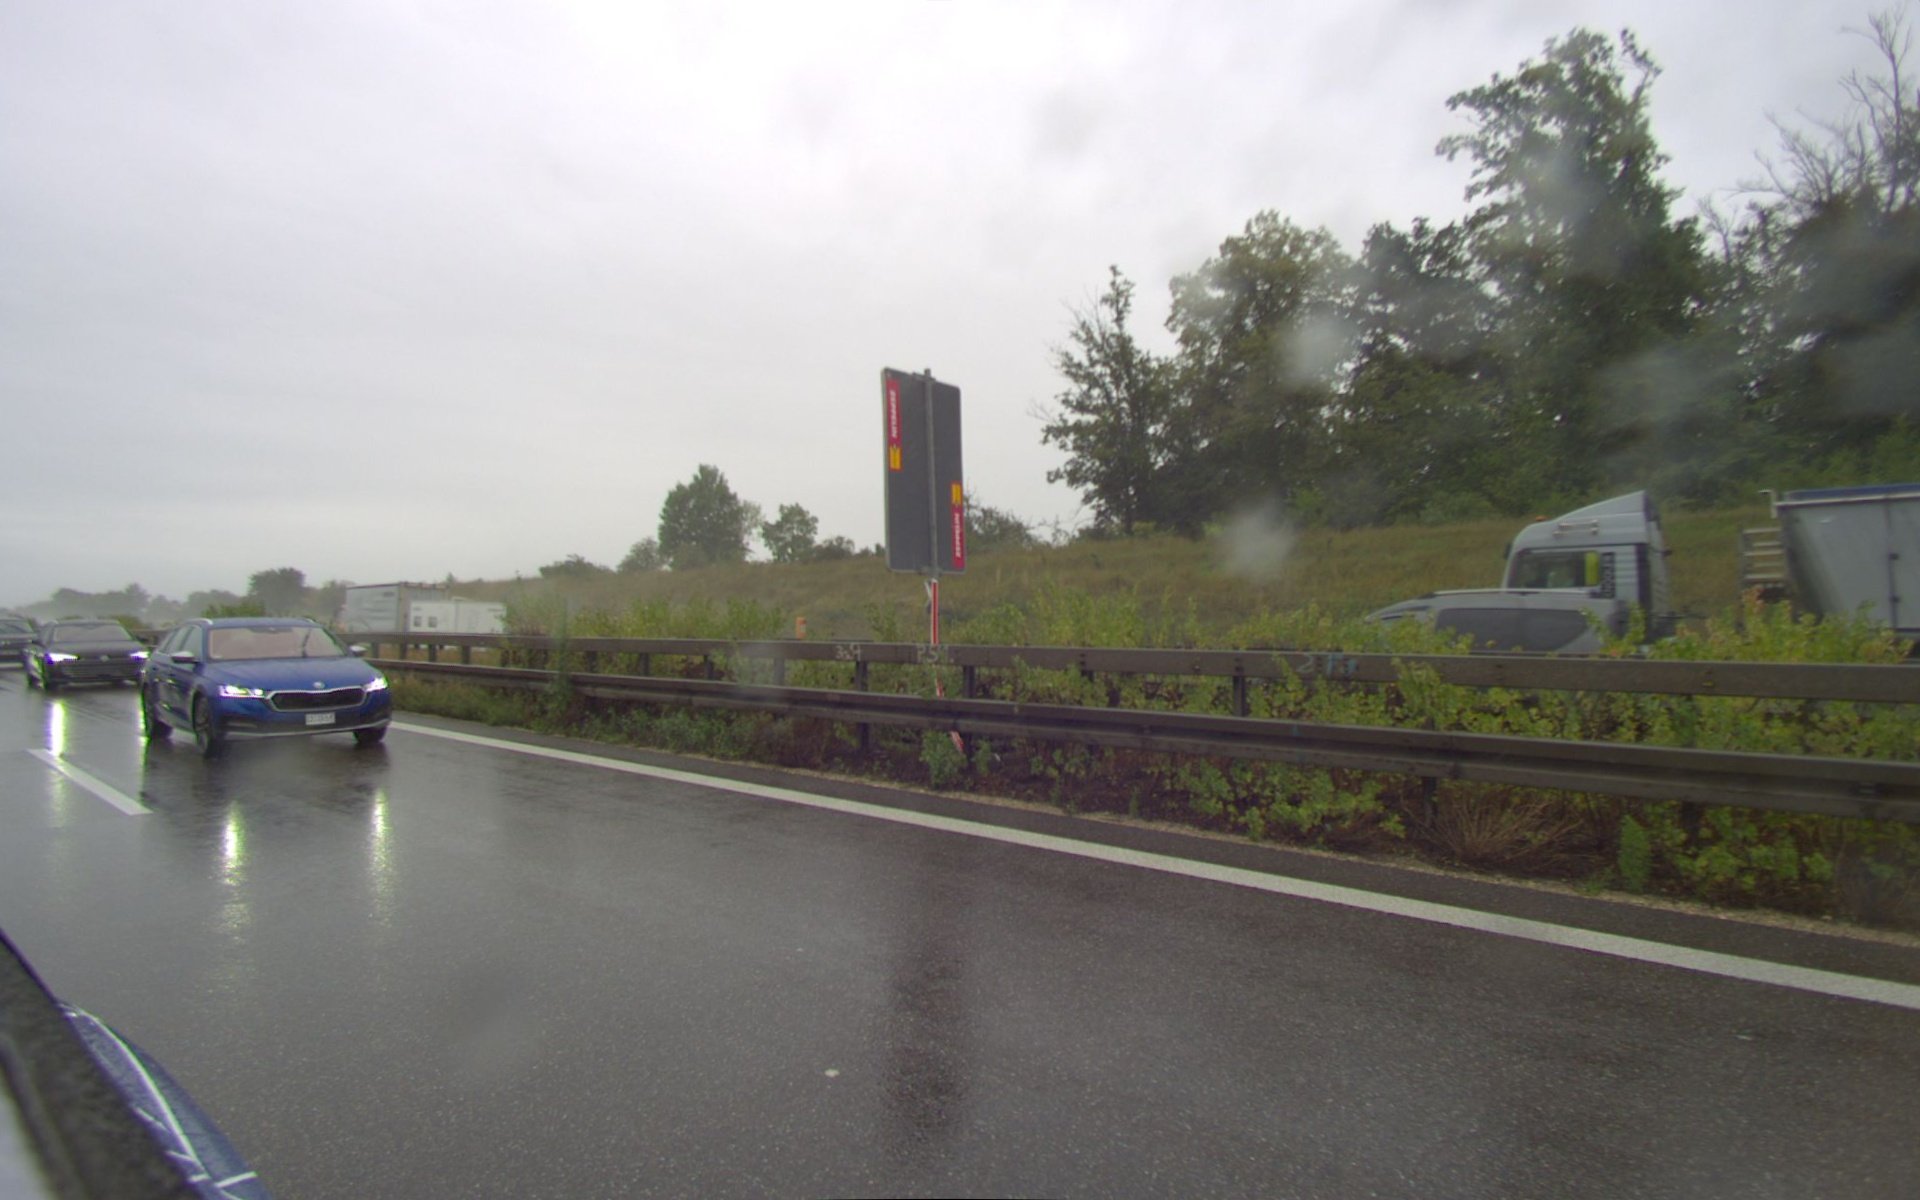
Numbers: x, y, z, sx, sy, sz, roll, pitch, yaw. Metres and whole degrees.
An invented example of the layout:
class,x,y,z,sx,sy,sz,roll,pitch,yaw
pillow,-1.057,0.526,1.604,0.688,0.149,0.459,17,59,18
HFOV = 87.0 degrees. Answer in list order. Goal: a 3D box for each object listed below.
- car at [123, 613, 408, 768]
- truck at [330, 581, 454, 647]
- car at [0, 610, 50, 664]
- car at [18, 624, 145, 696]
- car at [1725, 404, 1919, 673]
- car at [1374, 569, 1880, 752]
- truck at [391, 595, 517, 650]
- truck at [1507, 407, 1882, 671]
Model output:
class,x,y,z,sx,sy,sz,roll,pitch,yaw
car,-8.361,0.935,12.017,4.510,1.487,1.767,-2,-1,42
truck,-31.077,0.847,55.171,9.248,3.307,2.896,-2,-2,40
car,-30.826,1.176,32.539,4.267,1.644,1.864,-2,-1,41
car,-19.651,1.276,22.578,4.369,1.447,1.592,-2,-1,42
car,16.406,-0.888,12.479,10.967,3.638,2.658,-1,0,41
car,6.739,0.564,10.553,4.077,1.526,1.973,-2,-2,40
truck,-24.767,1.062,49.379,7.887,2.499,2.624,-1,0,40
truck,11.791,-0.822,16.479,4.602,3.638,2.659,-1,0,41
